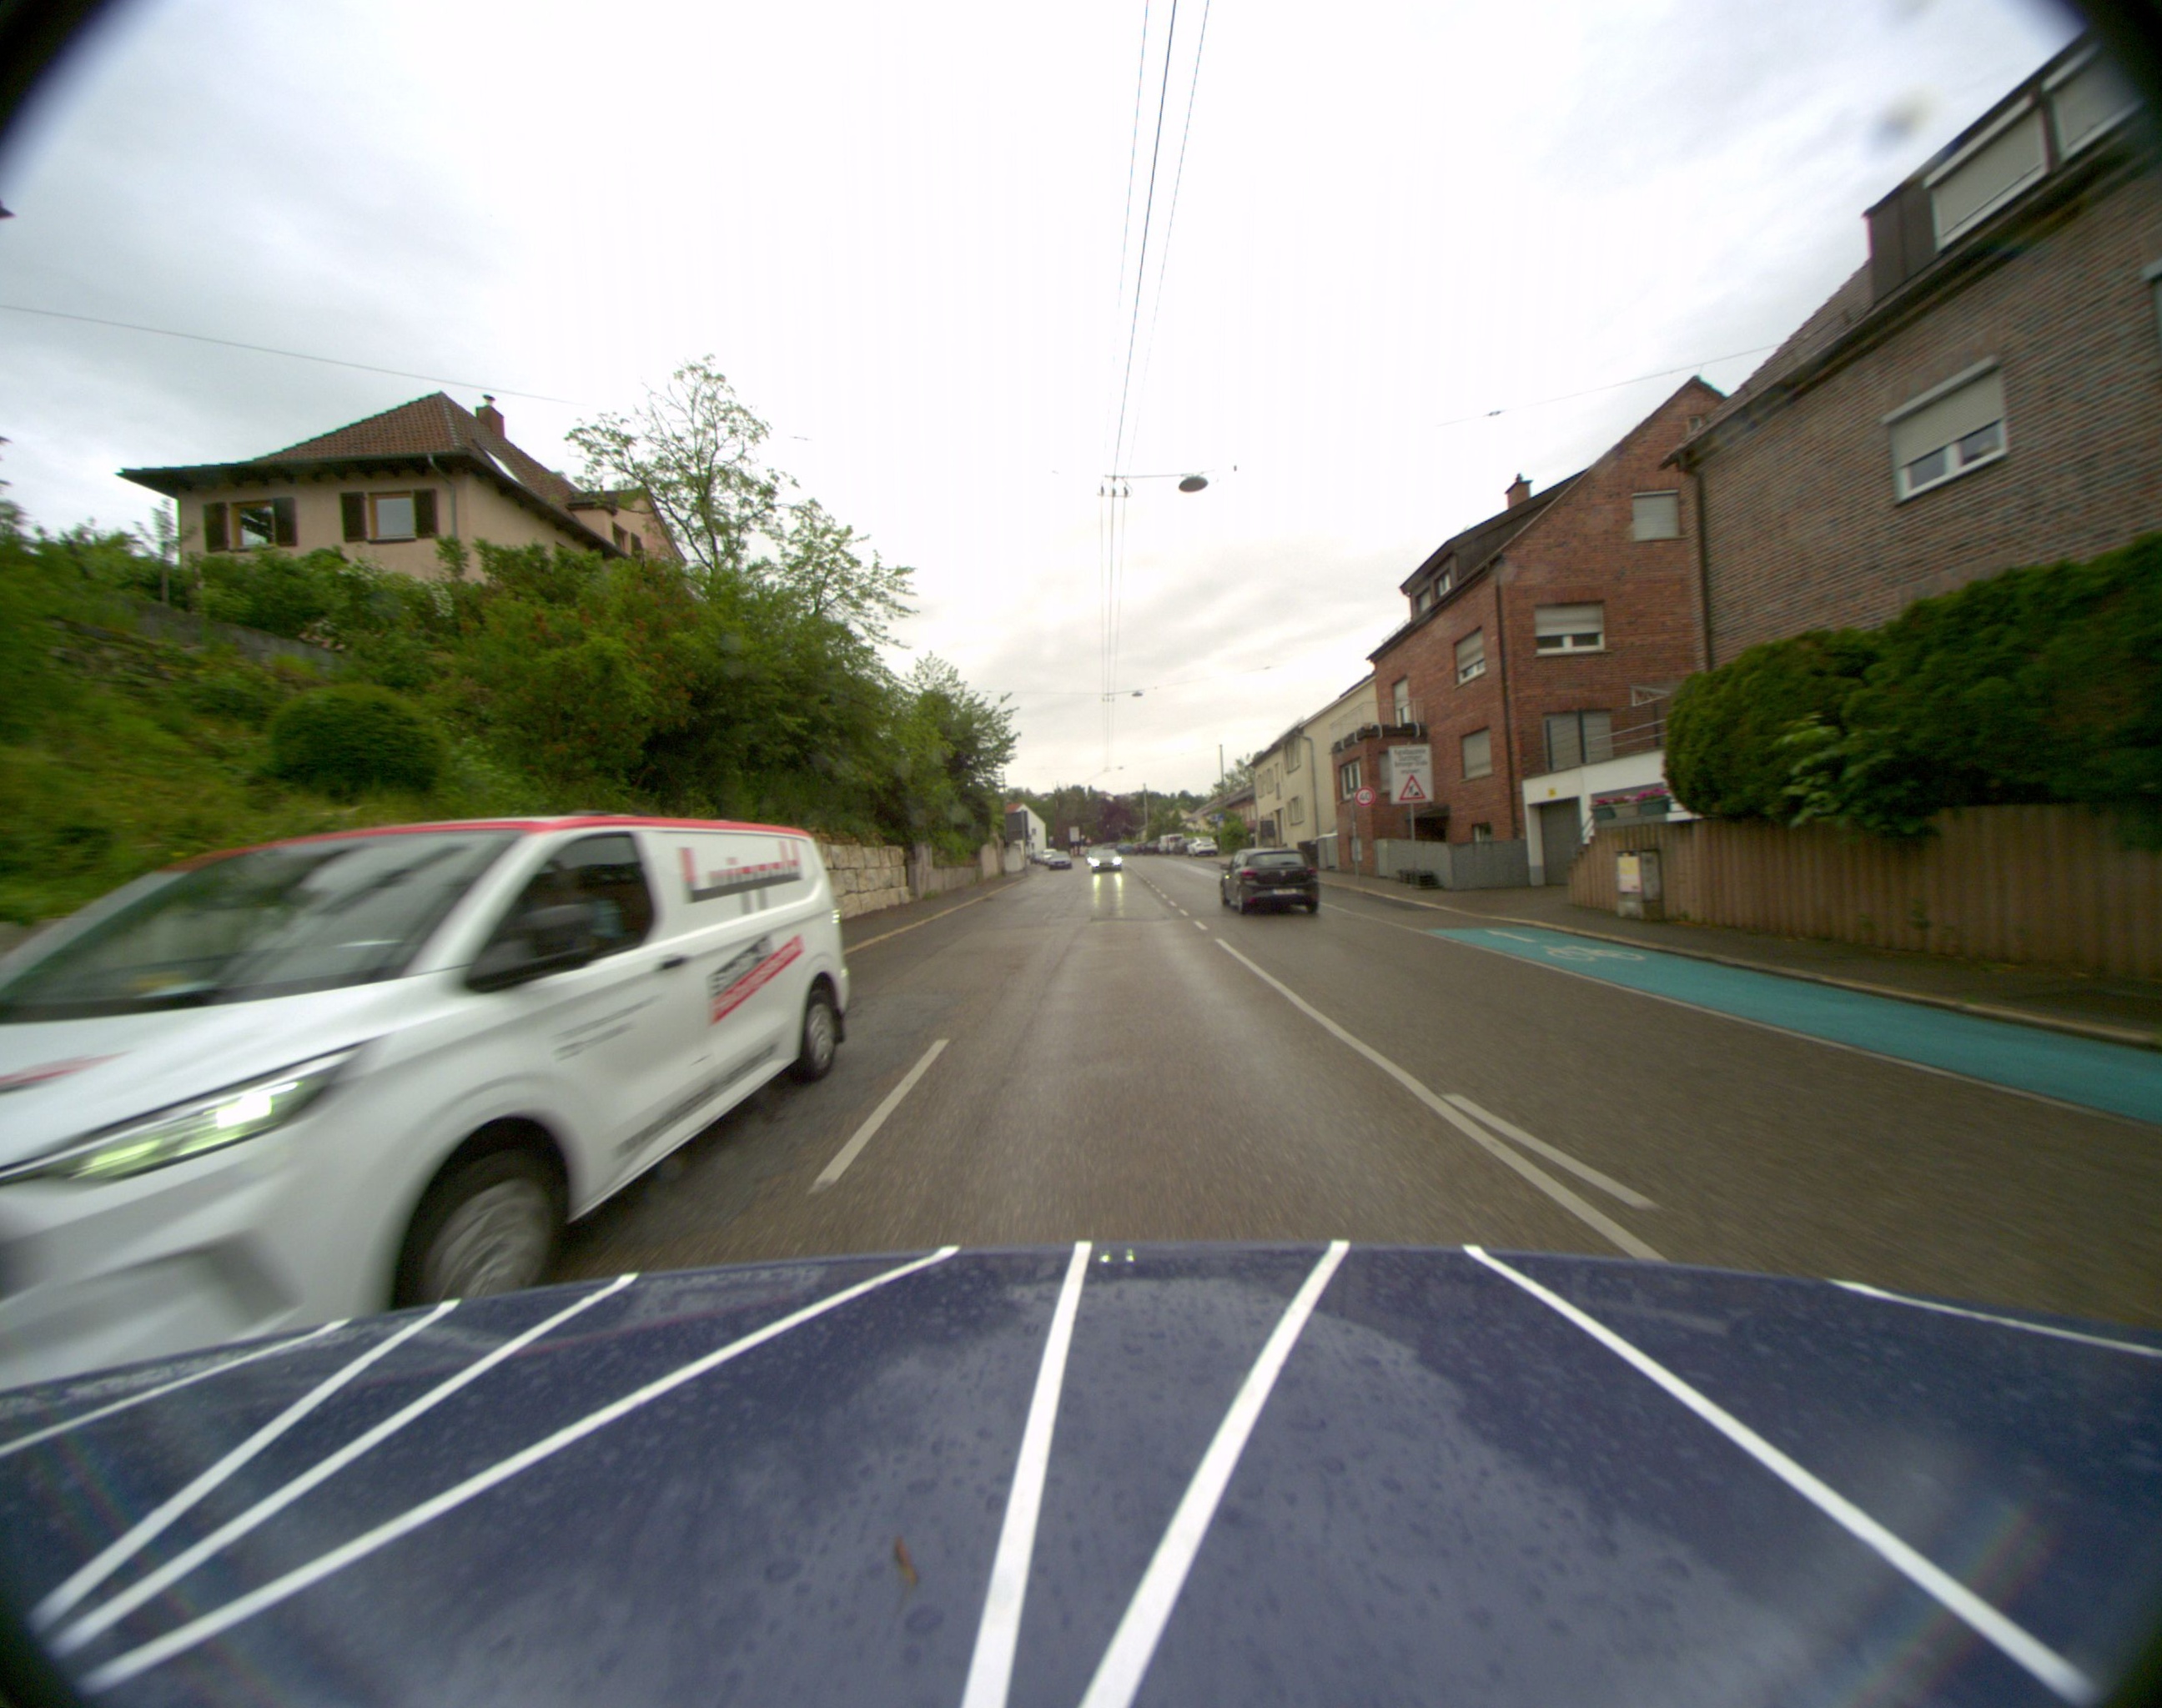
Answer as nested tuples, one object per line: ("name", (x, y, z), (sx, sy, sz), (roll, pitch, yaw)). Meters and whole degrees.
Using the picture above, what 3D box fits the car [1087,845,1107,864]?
("car", (1.438, 0.018, 70.179), (1.789, 1.579, 3.783), (-2, 1, 0))

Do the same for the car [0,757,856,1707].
("car", (-3.015, 0.933, 3.951), (2.071, 1.994, 4.816), (-4, -1, 0))

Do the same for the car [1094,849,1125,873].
("car", (1.818, 0.418, 49.847), (1.870, 1.407, 3.999), (-2, 1, 0))

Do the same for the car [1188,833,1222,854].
("car", (10.340, -0.828, 63.639), (1.946, 1.557, 4.262), (-4, 1, -2))

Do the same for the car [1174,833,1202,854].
("car", (10.067, -0.969, 71.793), (1.815, 1.793, 4.262), (-4, 1, -2))

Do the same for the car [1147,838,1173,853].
("car", (8.605, -0.898, 83.110), (1.654, 1.482, 4.008), (-4, 1, -10))

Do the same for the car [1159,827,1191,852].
("car", (9.600, -1.439, 77.805), (2.258, 2.273, 4.545), (-4, 1, -4))

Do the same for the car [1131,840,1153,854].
("car", (7.083, -0.802, 88.773), (1.654, 1.388, 3.858), (-4, 1, -8))

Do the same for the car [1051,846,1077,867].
("car", (-1.421, 0.206, 63.924), (2.003, 1.596, 4.359), (-2, -1, 0))

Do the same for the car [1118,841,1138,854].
("car", (5.749, -0.806, 94.152), (1.625, 1.482, 3.900), (-4, 1, -8))

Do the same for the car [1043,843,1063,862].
("car", (-2.997, -0.140, 79.899), (1.821, 1.855, 4.037), (-2, 1, -5))

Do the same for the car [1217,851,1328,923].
("car", (4.456, 0.712, 18.210), (1.920, 1.437, 3.718), (-2, 1, 4))
